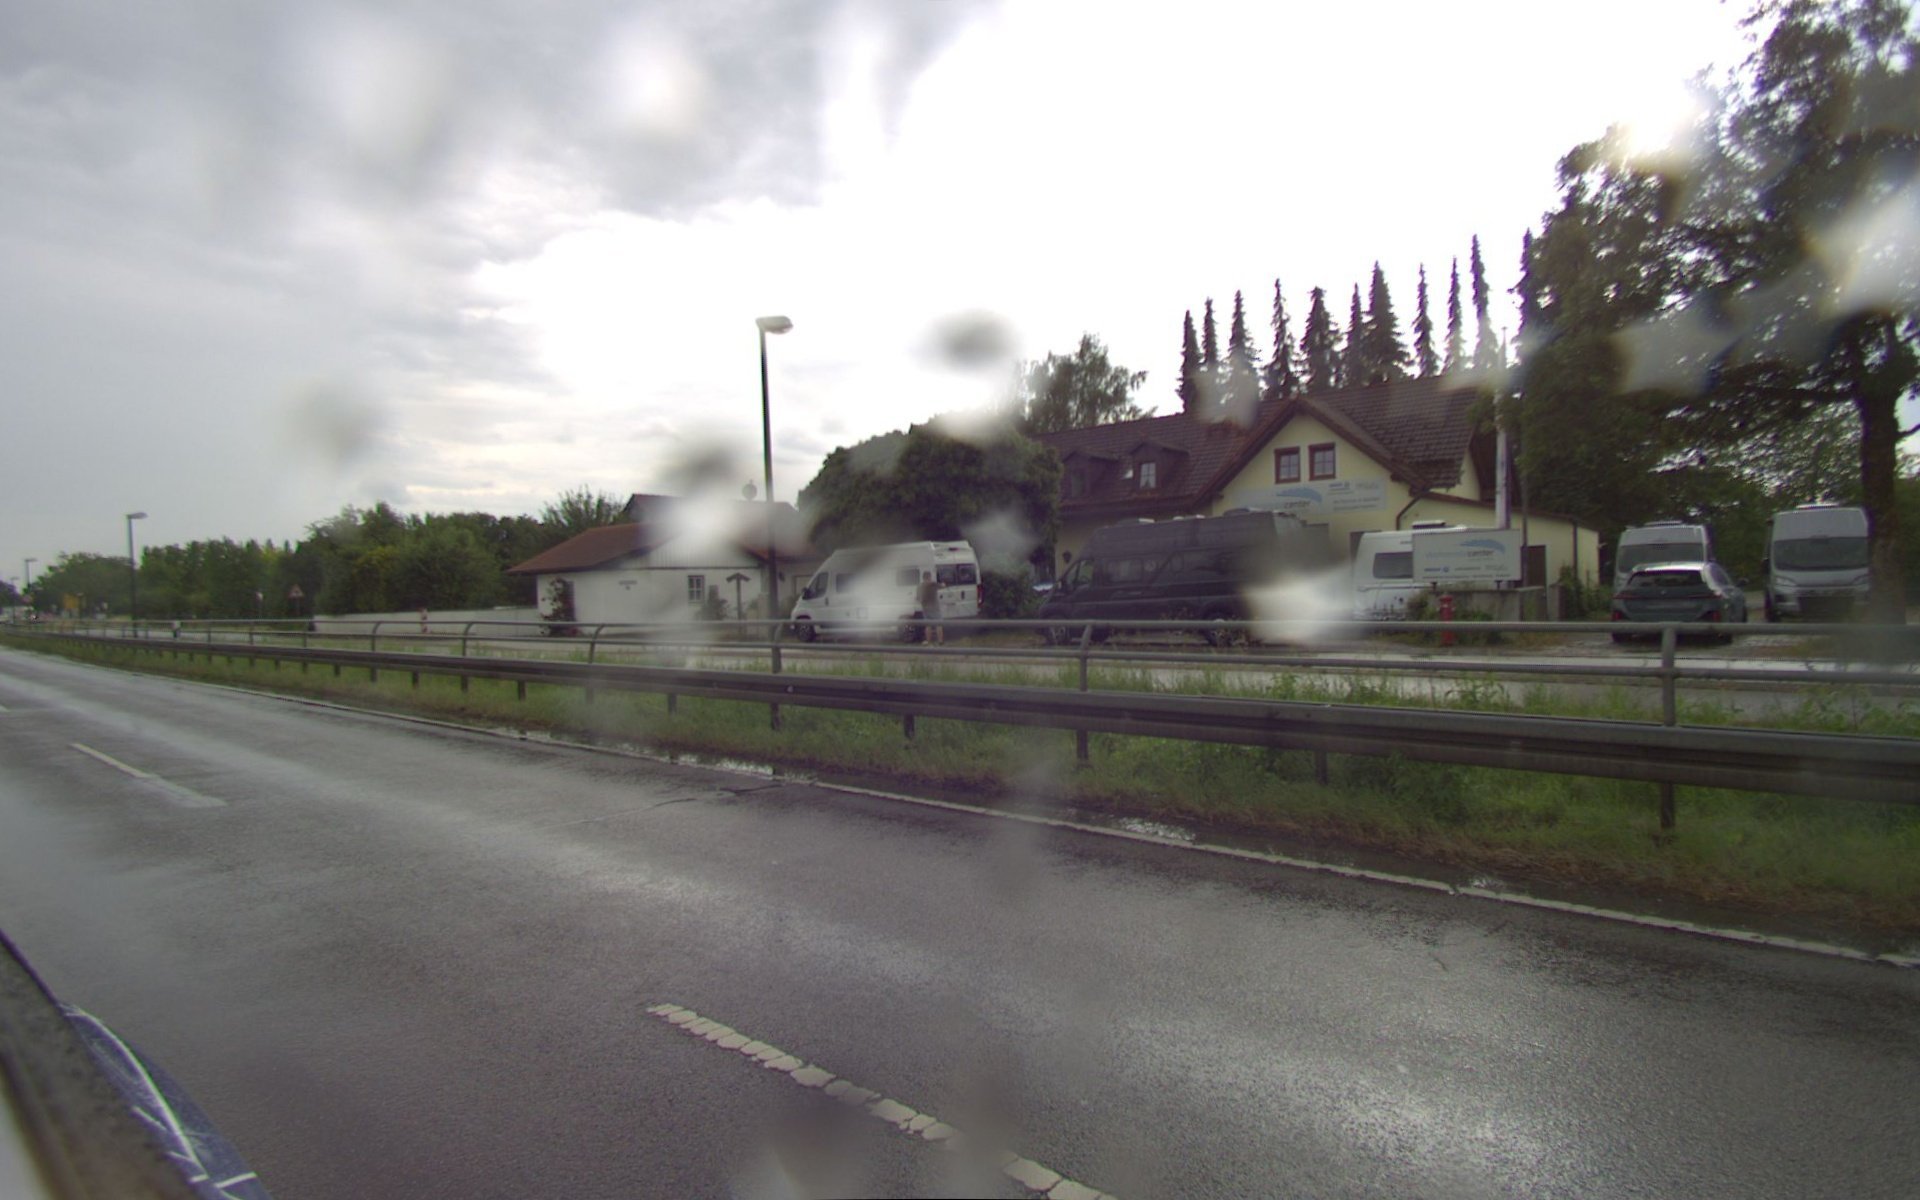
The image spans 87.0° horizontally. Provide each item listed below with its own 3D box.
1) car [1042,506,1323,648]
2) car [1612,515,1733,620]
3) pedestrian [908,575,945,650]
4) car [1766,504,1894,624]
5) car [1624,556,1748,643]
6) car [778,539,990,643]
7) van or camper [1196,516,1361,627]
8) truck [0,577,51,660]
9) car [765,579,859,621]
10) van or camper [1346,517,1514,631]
[{"bbox_3d":[4.833,-0.430,22.479,5.565,2.783,2.360,-2,1,38],"label":"car"},{"bbox_3d":[18.905,-0.840,26.710,2.090,2.435,6.031,-1,1,40],"label":"car"},{"bbox_3d":[-0.793,0.296,23.740,0.509,1.723,0.651,-2,1,-41],"label":"pedestrian"},{"bbox_3d":[21.074,-0.852,24.646,2.090,2.557,6.031,-1,1,40],"label":"car"},{"bbox_3d":[14.190,-0.054,19.706,1.540,1.507,3.843,-1,1,42],"label":"car"},{"bbox_3d":[-2.219,-0.198,28.064,6.015,2.600,2.214,-1,1,41],"label":"car"},{"bbox_3d":[9.217,-0.820,28.877,2.431,2.822,5.995,-2,1,39],"label":"van or camper"},{"bbox_3d":[-61.985,1.203,65.878,7.781,5.071,3.214,-1,1,42],"label":"truck"},{"bbox_3d":[-5.187,-0.002,35.319,3.269,1.366,1.433,-1,1,42],"label":"car"},{"bbox_3d":[12.403,-0.687,26.419,2.559,2.611,6.163,-2,1,39],"label":"van or camper"}]
